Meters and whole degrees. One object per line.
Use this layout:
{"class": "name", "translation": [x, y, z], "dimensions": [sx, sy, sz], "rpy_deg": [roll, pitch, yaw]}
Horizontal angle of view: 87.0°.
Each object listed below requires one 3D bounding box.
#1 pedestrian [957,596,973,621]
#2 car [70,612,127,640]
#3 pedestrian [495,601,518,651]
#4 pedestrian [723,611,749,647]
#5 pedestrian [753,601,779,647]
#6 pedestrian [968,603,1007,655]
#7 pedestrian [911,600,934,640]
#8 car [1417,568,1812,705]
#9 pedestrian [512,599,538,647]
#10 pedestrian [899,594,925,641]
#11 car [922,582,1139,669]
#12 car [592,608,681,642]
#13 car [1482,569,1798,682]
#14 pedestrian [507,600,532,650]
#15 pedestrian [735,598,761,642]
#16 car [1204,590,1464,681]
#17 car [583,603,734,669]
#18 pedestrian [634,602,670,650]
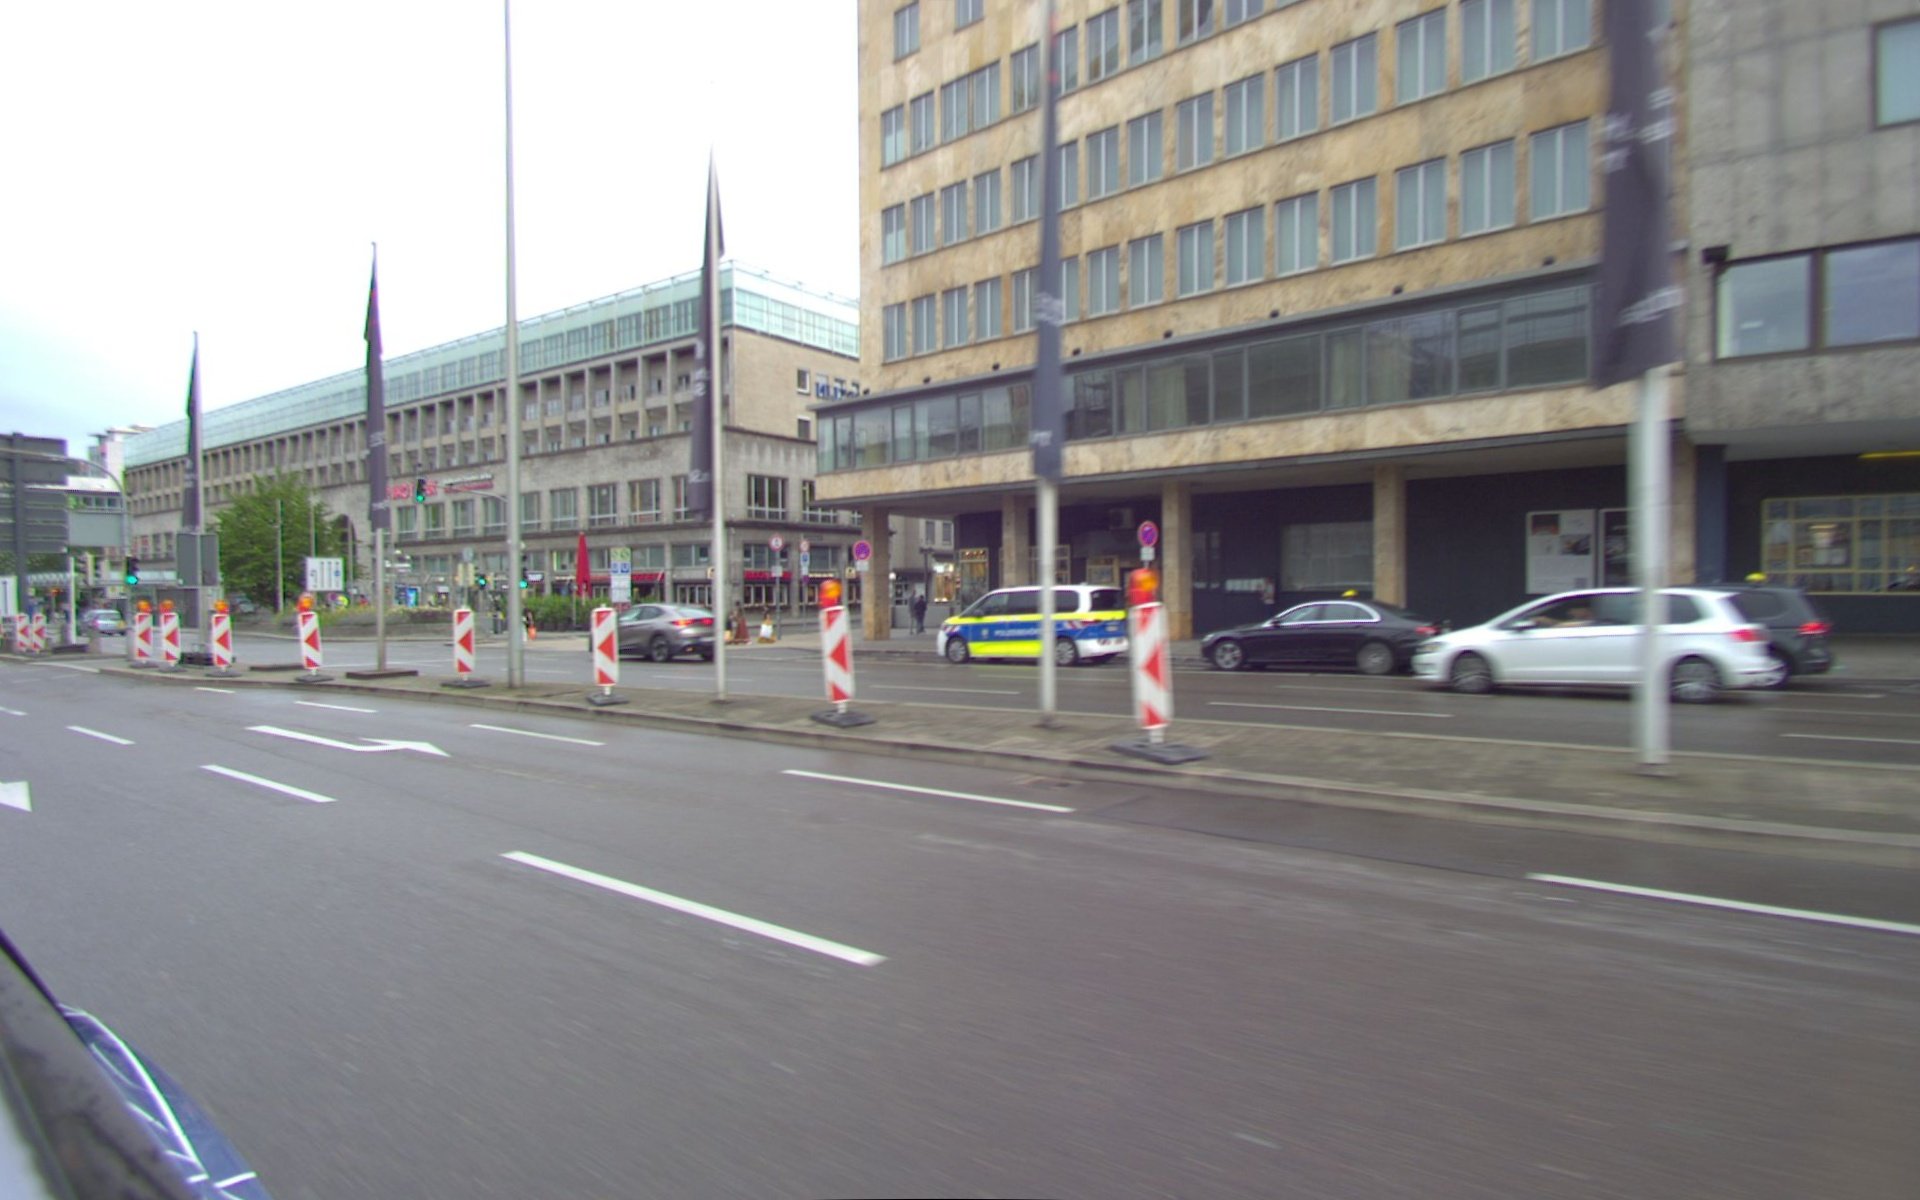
{"class": "pedestrian", "translation": [0.297, 0.499, 58.229], "dimensions": [0.601, 1.375, 0.692], "rpy_deg": [-1, 3, 38]}
{"class": "car", "translation": [-52.406, 1.583, 61.541], "dimensions": [3.992, 1.633, 1.738], "rpy_deg": [-1, 0, 36]}
{"class": "pedestrian", "translation": [-17.967, 1.012, 40.066], "dimensions": [0.705, 1.939, 0.593], "rpy_deg": [-1, 0, -12]}
{"class": "pedestrian", "translation": [-8.287, 1.073, 37.411], "dimensions": [0.751, 1.301, 0.558], "rpy_deg": [-1, -1, 35]}
{"class": "pedestrian", "translation": [-7.222, 0.879, 37.623], "dimensions": [0.751, 1.681, 0.558], "rpy_deg": [-1, -1, 35]}
{"class": "pedestrian", "translation": [0.830, 0.874, 30.809], "dimensions": [0.956, 1.561, 0.707], "rpy_deg": [-1, 0, 43]}
{"class": "pedestrian", "translation": [-1.531, 0.811, 41.128], "dimensions": [0.683, 1.621, 0.617], "rpy_deg": [-1, 0, 42]}
{"class": "car", "translation": [9.157, 0.480, 14.492], "dimensions": [4.492, 1.682, 1.807], "rpy_deg": [-1, 0, 37]}
{"class": "pedestrian", "translation": [-18.636, 0.983, 43.391], "dimensions": [0.806, 2.029, 0.697], "rpy_deg": [-1, -1, 37]}
{"class": "pedestrian", "translation": [-1.972, 0.715, 41.791], "dimensions": [0.772, 1.889, 0.707], "rpy_deg": [-1, 0, 42]}
{"class": "car", "translation": [1.644, 0.643, 24.770], "dimensions": [5.065, 1.943, 1.883], "rpy_deg": [-2, -2, 36]}
{"class": "car", "translation": [-16.711, 1.270, 52.335], "dimensions": [1.805, 1.652, 4.038], "rpy_deg": [-1, 0, 41]}
{"class": "car", "translation": [11.354, 0.424, 17.147], "dimensions": [4.220, 1.694, 1.738], "rpy_deg": [-2, -1, 36]}
{"class": "pedestrian", "translation": [-17.209, 0.979, 39.555], "dimensions": [0.750, 1.939, 0.584], "rpy_deg": [-1, 0, 36]}
{"class": "pedestrian", "translation": [-7.801, 0.720, 37.286], "dimensions": [0.677, 1.604, 0.660], "rpy_deg": [-1, 0, 25]}
{"class": "car", "translation": [7.373, 0.663, 20.155], "dimensions": [4.556, 1.633, 1.738], "rpy_deg": [-1, 0, 36]}
{"class": "car", "translation": [-8.360, 0.955, 27.873], "dimensions": [4.494, 1.682, 1.757], "rpy_deg": [-1, -1, 38]}
{"class": "pedestrian", "translation": [-10.824, 0.916, 35.591], "dimensions": [0.785, 1.630, 0.832], "rpy_deg": [-1, 3, 26]}
